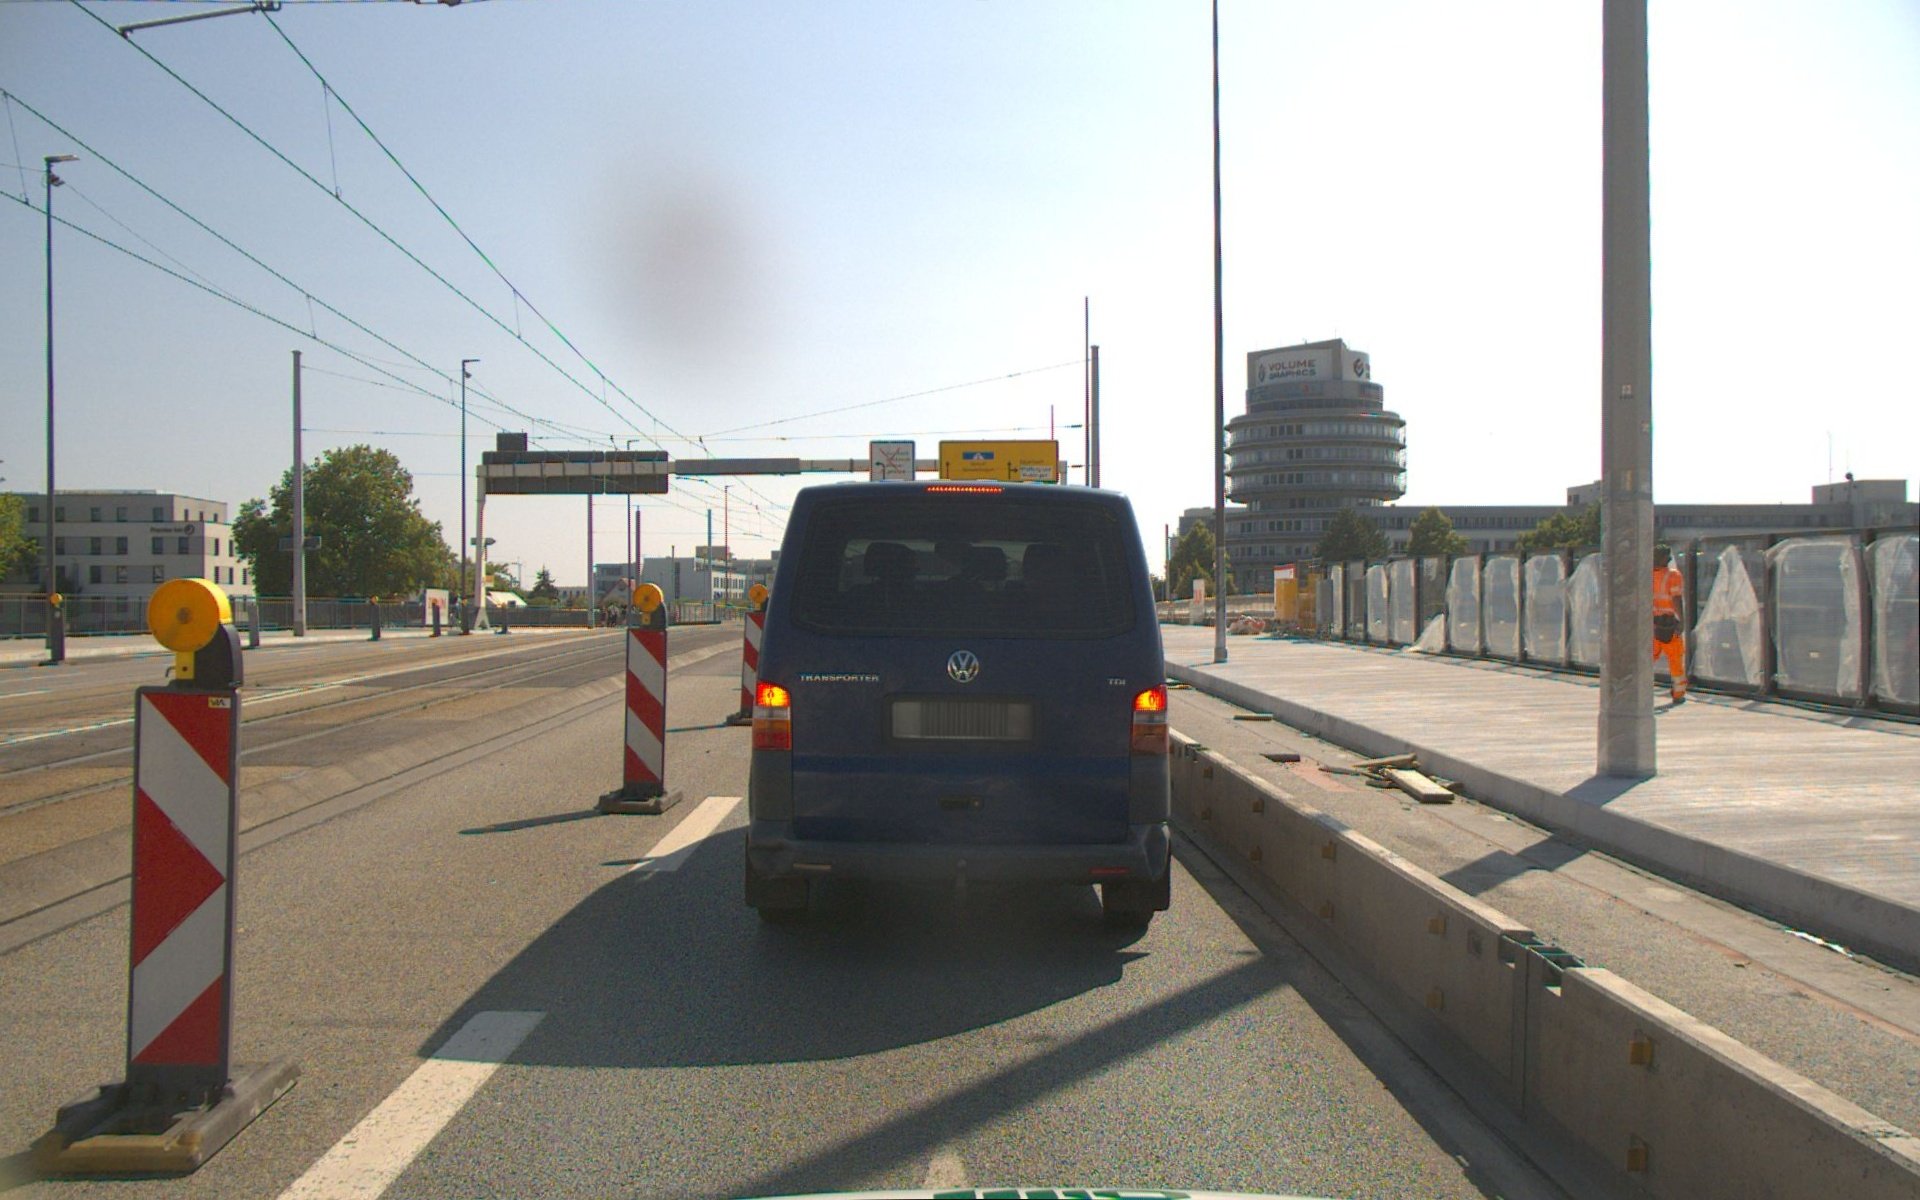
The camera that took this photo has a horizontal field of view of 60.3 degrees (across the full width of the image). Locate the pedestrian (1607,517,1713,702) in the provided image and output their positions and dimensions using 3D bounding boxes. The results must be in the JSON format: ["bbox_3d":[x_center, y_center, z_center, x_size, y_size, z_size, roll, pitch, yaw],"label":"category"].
[{"bbox_3d":[7.710,0.104,18.252,0.766,1.969,0.799,-2,0,-1],"label":"pedestrian"}]

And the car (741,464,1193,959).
[{"bbox_3d":[0.109,0.426,8.530,1.778,1.939,4.056,0,0,2],"label":"car"}]

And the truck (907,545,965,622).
[{"bbox_3d":[-1.118,-0.814,75.035,2.410,3.189,11.214,0,1,-1],"label":"truck"}]

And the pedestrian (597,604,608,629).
[{"bbox_3d":[-25.585,1.163,118.417,0.621,1.783,0.752,1,0,-2],"label":"pedestrian"}]

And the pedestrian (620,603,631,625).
[{"bbox_3d":[-24.547,1.019,121.368,0.621,1.626,0.752,1,0,-1],"label":"pedestrian"}]

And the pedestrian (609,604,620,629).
[{"bbox_3d":[-24.789,1.175,118.540,0.621,1.805,0.752,1,0,-1],"label":"pedestrian"}]

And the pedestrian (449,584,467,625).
[{"bbox_3d":[-24.076,0.200,79.279,0.621,1.926,0.752,1,0,-1],"label":"pedestrian"}]
